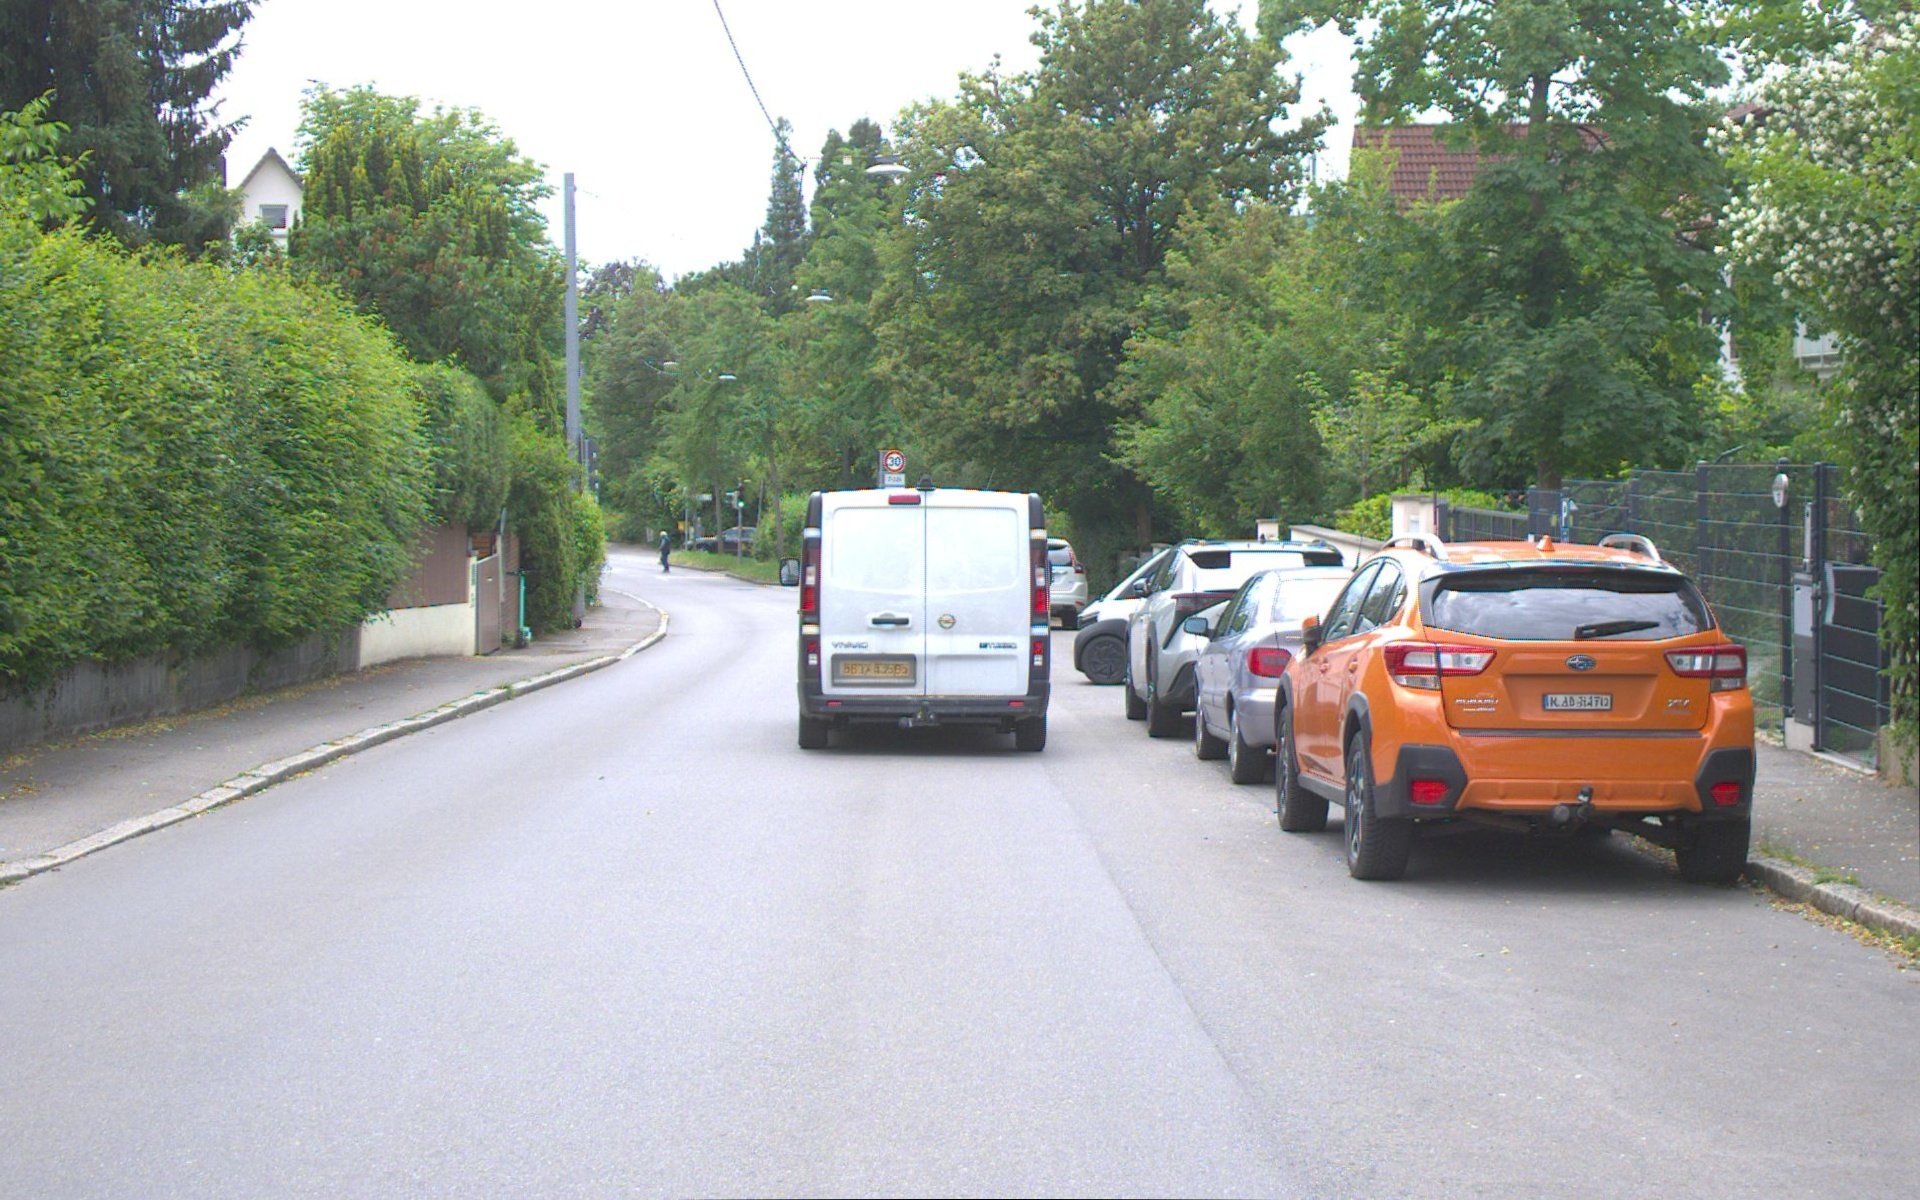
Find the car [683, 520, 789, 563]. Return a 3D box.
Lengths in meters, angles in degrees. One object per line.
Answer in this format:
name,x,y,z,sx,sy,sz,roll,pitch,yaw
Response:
car,-10.053,-2.628,154.093,4.388,1.853,1.904,0,2,-18

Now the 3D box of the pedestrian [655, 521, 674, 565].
pedestrian,-11.061,-2.138,128.708,0.697,1.610,0.715,0,3,-7

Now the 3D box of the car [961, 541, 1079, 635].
car,1.080,-0.254,64.171,1.865,1.679,4.351,0,1,-3

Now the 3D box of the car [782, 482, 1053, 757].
car,-0.396,0.079,26.873,1.930,1.957,4.402,0,2,-2

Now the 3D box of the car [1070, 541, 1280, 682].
car,2.398,0.115,38.309,2.287,1.518,1.318,0,1,4

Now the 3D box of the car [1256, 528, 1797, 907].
car,2.663,0.489,17.152,1.850,1.621,4.170,1,1,-2

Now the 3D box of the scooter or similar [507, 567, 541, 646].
scooter or similar,-6.622,0.090,52.215,0.391,1.167,1.270,0,1,-2

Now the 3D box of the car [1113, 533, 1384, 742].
car,2.346,0.263,28.980,1.829,1.618,4.492,0,1,-1

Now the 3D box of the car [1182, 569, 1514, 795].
car,2.551,0.491,23.495,1.716,1.377,4.236,0,1,-1
